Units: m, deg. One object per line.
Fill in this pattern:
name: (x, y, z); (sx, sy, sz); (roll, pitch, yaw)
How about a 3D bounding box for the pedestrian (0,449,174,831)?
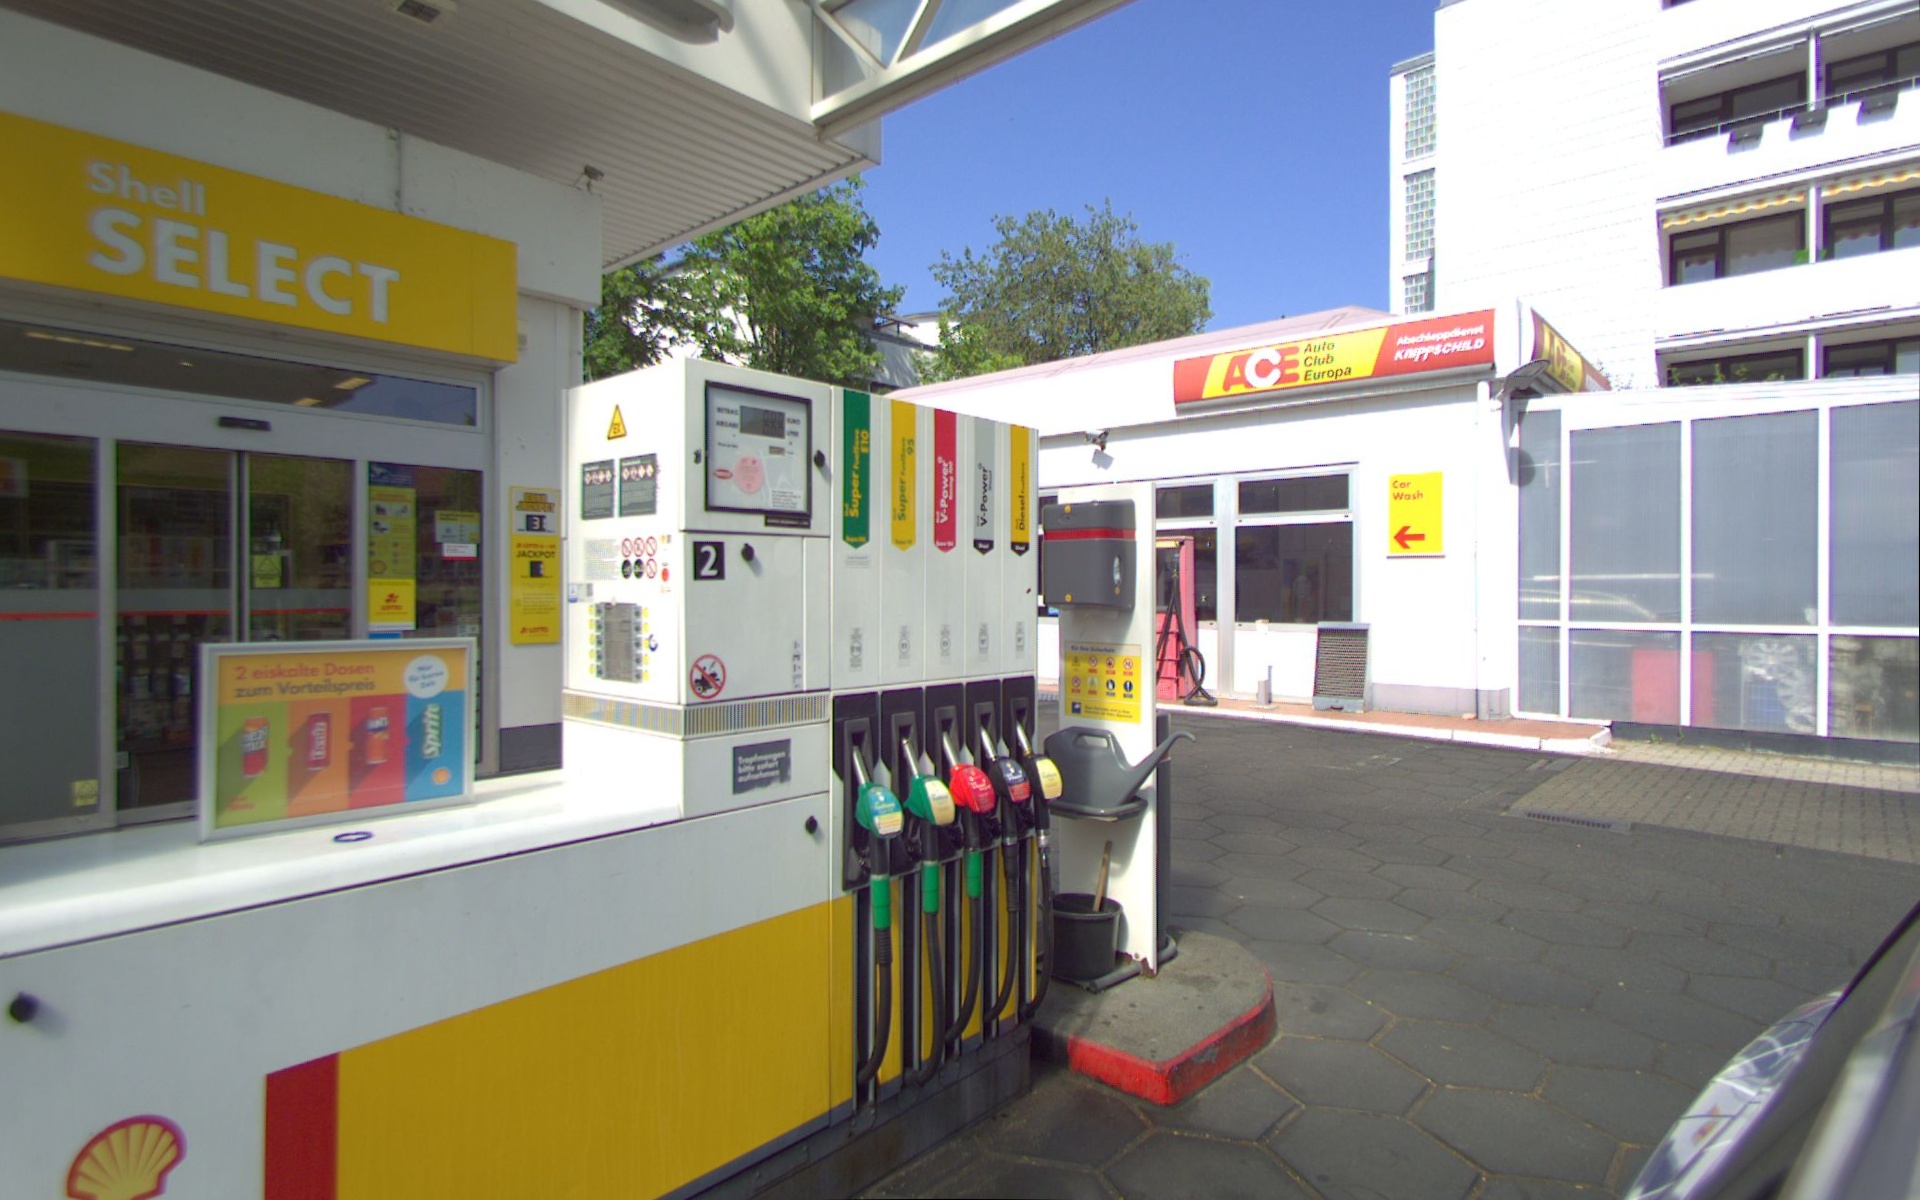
pedestrian: (-5.072, 0.208, 5.861); (0.737, 2.039, 0.616); (0, 0, 33)
